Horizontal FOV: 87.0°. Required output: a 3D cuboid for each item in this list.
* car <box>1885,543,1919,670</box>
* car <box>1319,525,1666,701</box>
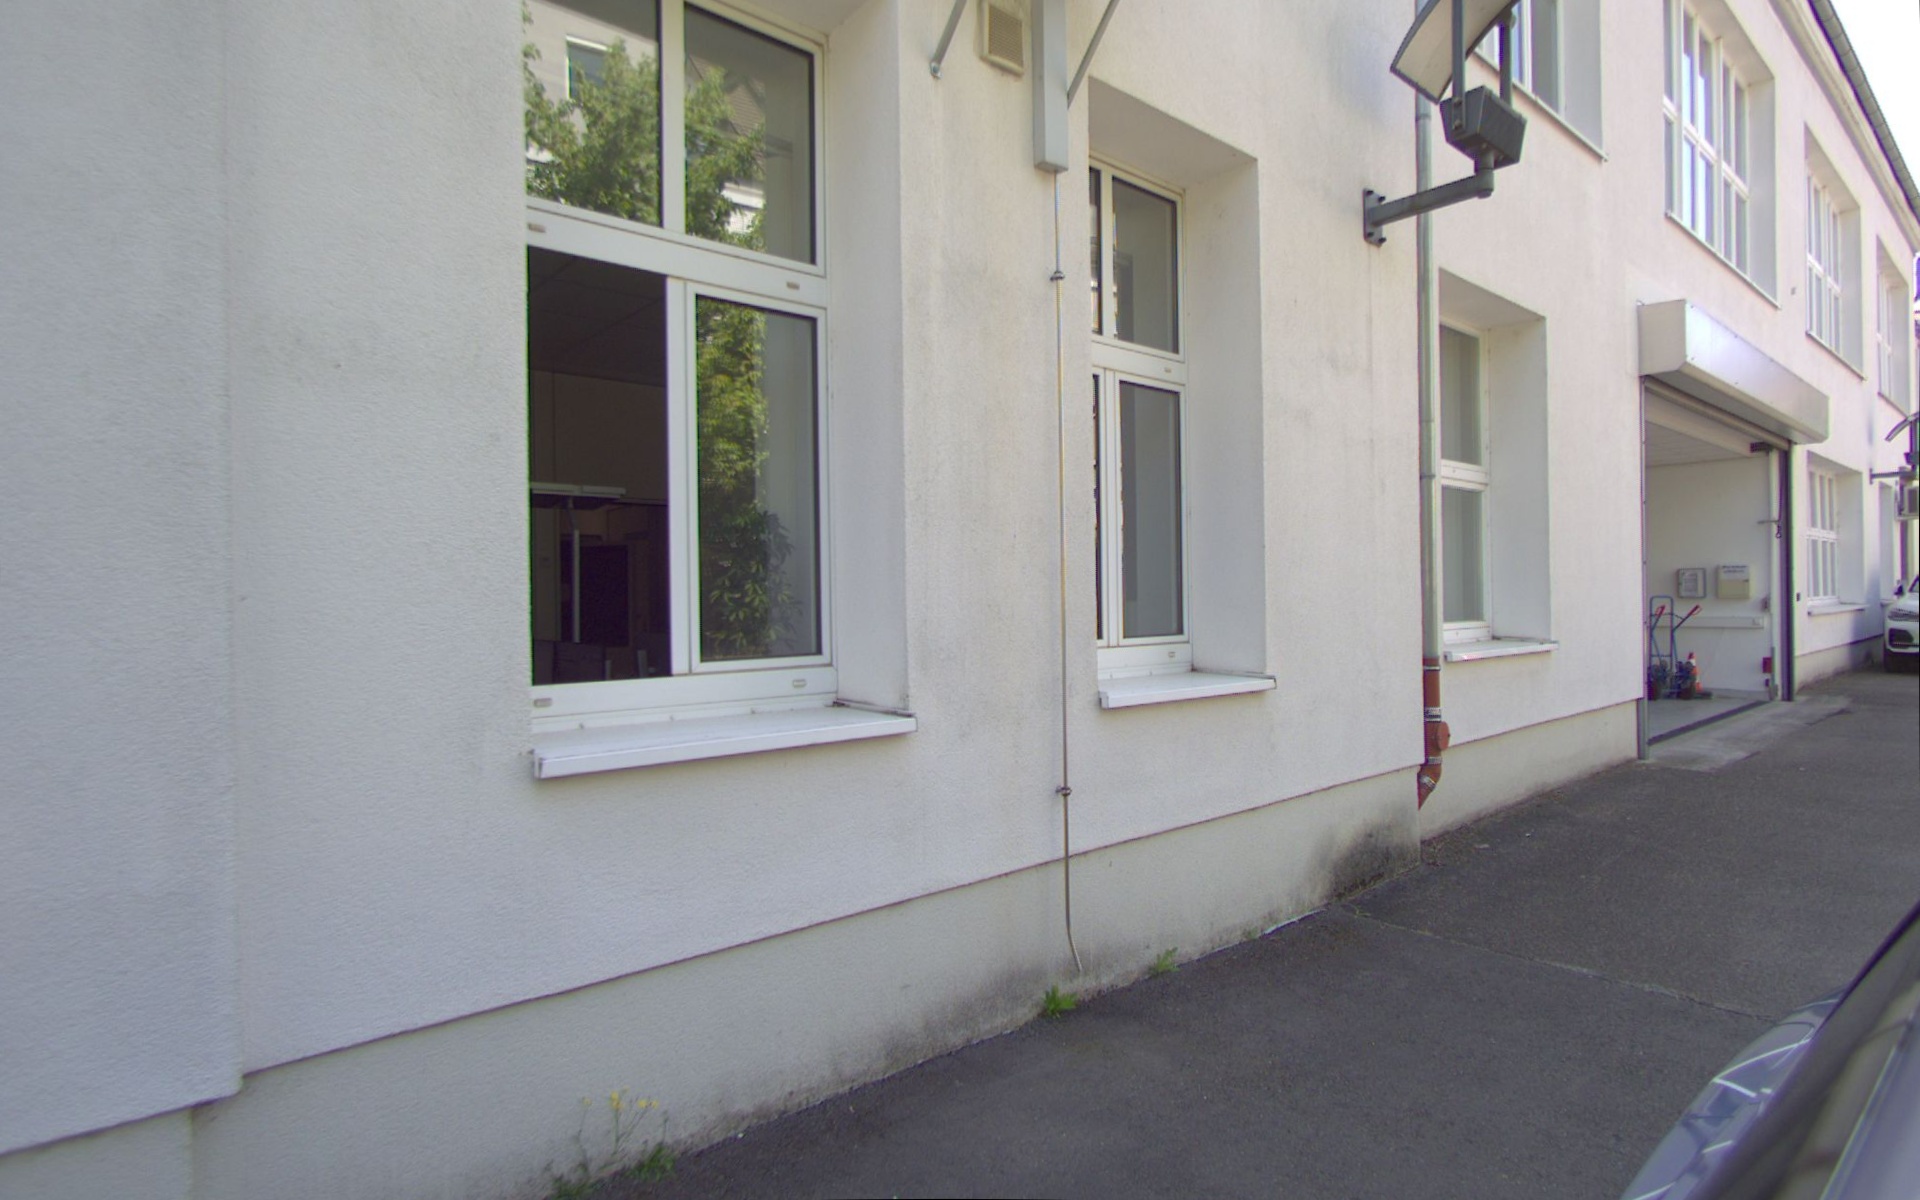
[{"bbox_3d":[15.944,0.021,15.531,4.645,1.825,2.010,-2,1,-40],"label":"car"},{"bbox_3d":[7.077,0.132,13.793,1.623,2.039,3.839,-2,1,-36],"label":"car"}]
